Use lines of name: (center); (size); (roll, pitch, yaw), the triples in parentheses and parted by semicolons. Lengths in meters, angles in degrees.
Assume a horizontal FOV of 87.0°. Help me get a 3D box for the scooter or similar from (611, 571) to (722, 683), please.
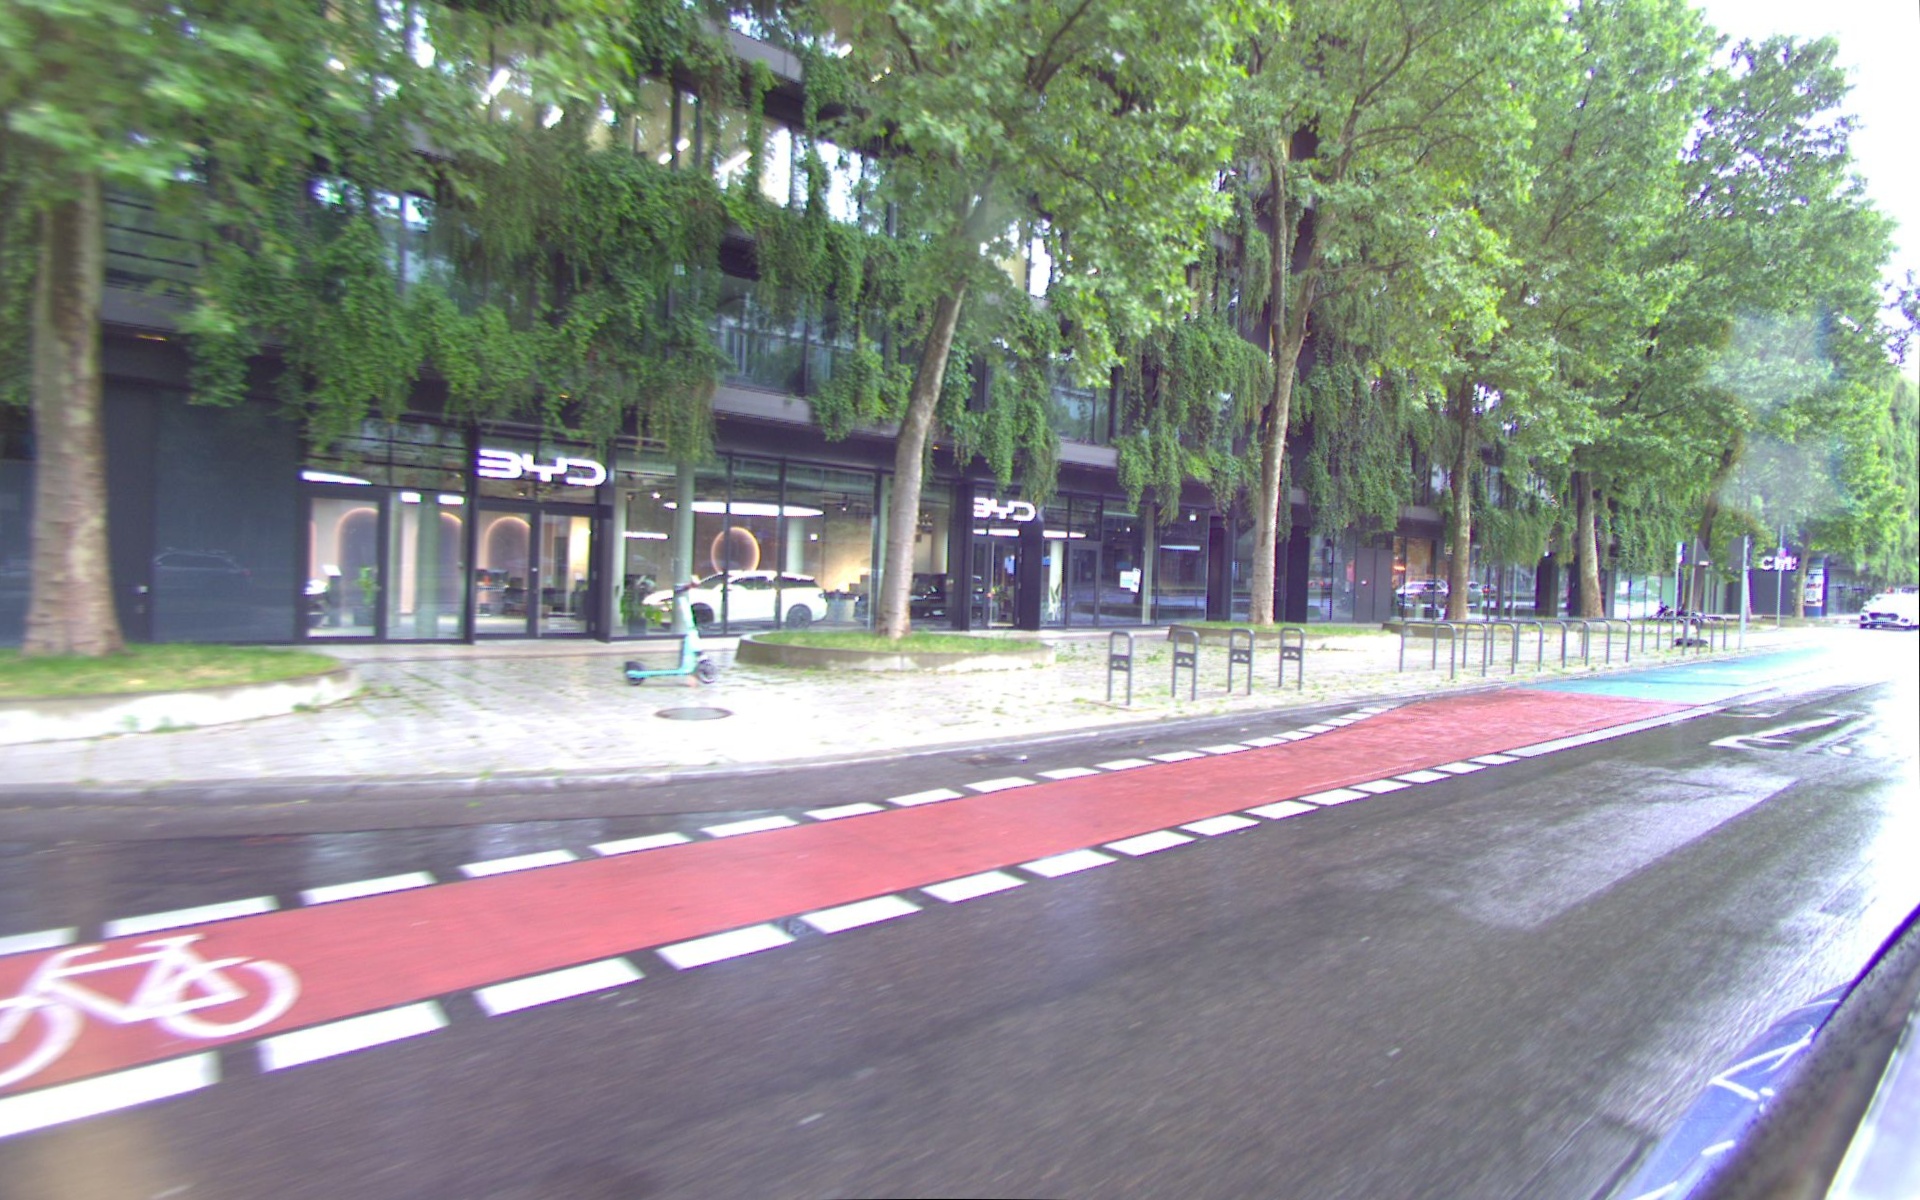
scooter or similar: (-3.510, 0.310, 12.131); (1.165, 1.298, 0.535); (0, 0, 10)

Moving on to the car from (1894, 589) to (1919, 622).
car: (49.783, 0.269, 51.964); (4.503, 1.581, 2.035); (-1, 1, -39)

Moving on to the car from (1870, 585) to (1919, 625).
car: (45.130, 0.207, 48.359); (4.519, 1.757, 1.931); (-1, 1, -41)
